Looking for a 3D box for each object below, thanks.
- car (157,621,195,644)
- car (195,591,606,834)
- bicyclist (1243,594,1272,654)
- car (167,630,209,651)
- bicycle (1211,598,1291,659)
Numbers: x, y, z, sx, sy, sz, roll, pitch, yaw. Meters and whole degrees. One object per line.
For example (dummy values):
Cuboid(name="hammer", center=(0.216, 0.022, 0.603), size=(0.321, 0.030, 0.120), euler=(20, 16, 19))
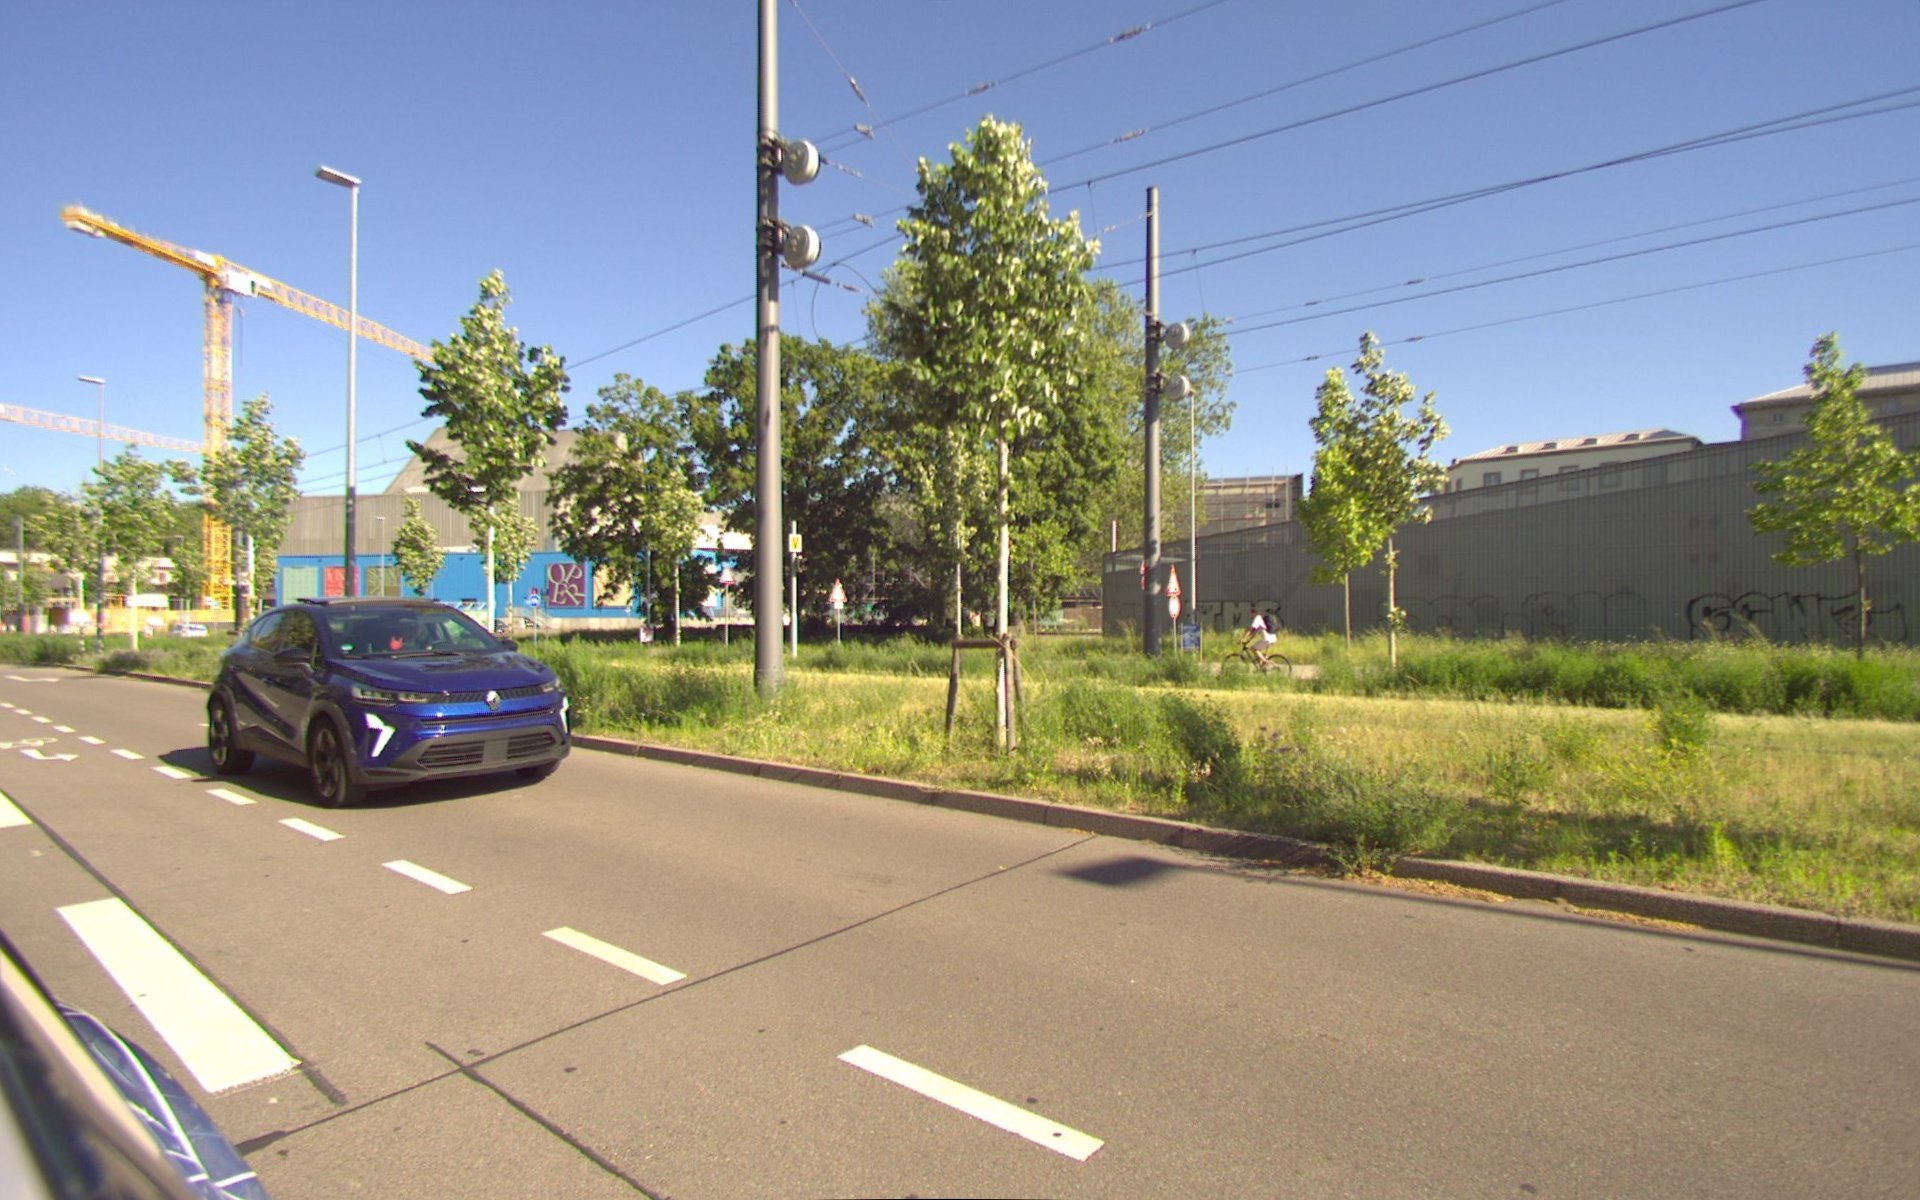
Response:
Cuboid(name="car", center=(-66.132, 2.743, 85.358), size=(3.998, 1.811, 1.779), euler=(0, 1, 41))
Cuboid(name="car", center=(-5.011, 0.794, 8.821), size=(4.148, 1.635, 1.727), euler=(-2, 0, 39))
Cuboid(name="bicyclist", center=(7.338, 0.591, 24.947), size=(0.539, 1.465, 0.390), euler=(-1, 0, 40))
Cuboid(name="car", center=(-55.662, 2.910, 72.955), size=(3.829, 1.409, 1.617), euler=(-2, -1, 39))
Cuboid(name="bicycle", center=(7.196, 0.712, 25.068), size=(1.912, 1.466, 0.356), euler=(-2, -2, 41))
